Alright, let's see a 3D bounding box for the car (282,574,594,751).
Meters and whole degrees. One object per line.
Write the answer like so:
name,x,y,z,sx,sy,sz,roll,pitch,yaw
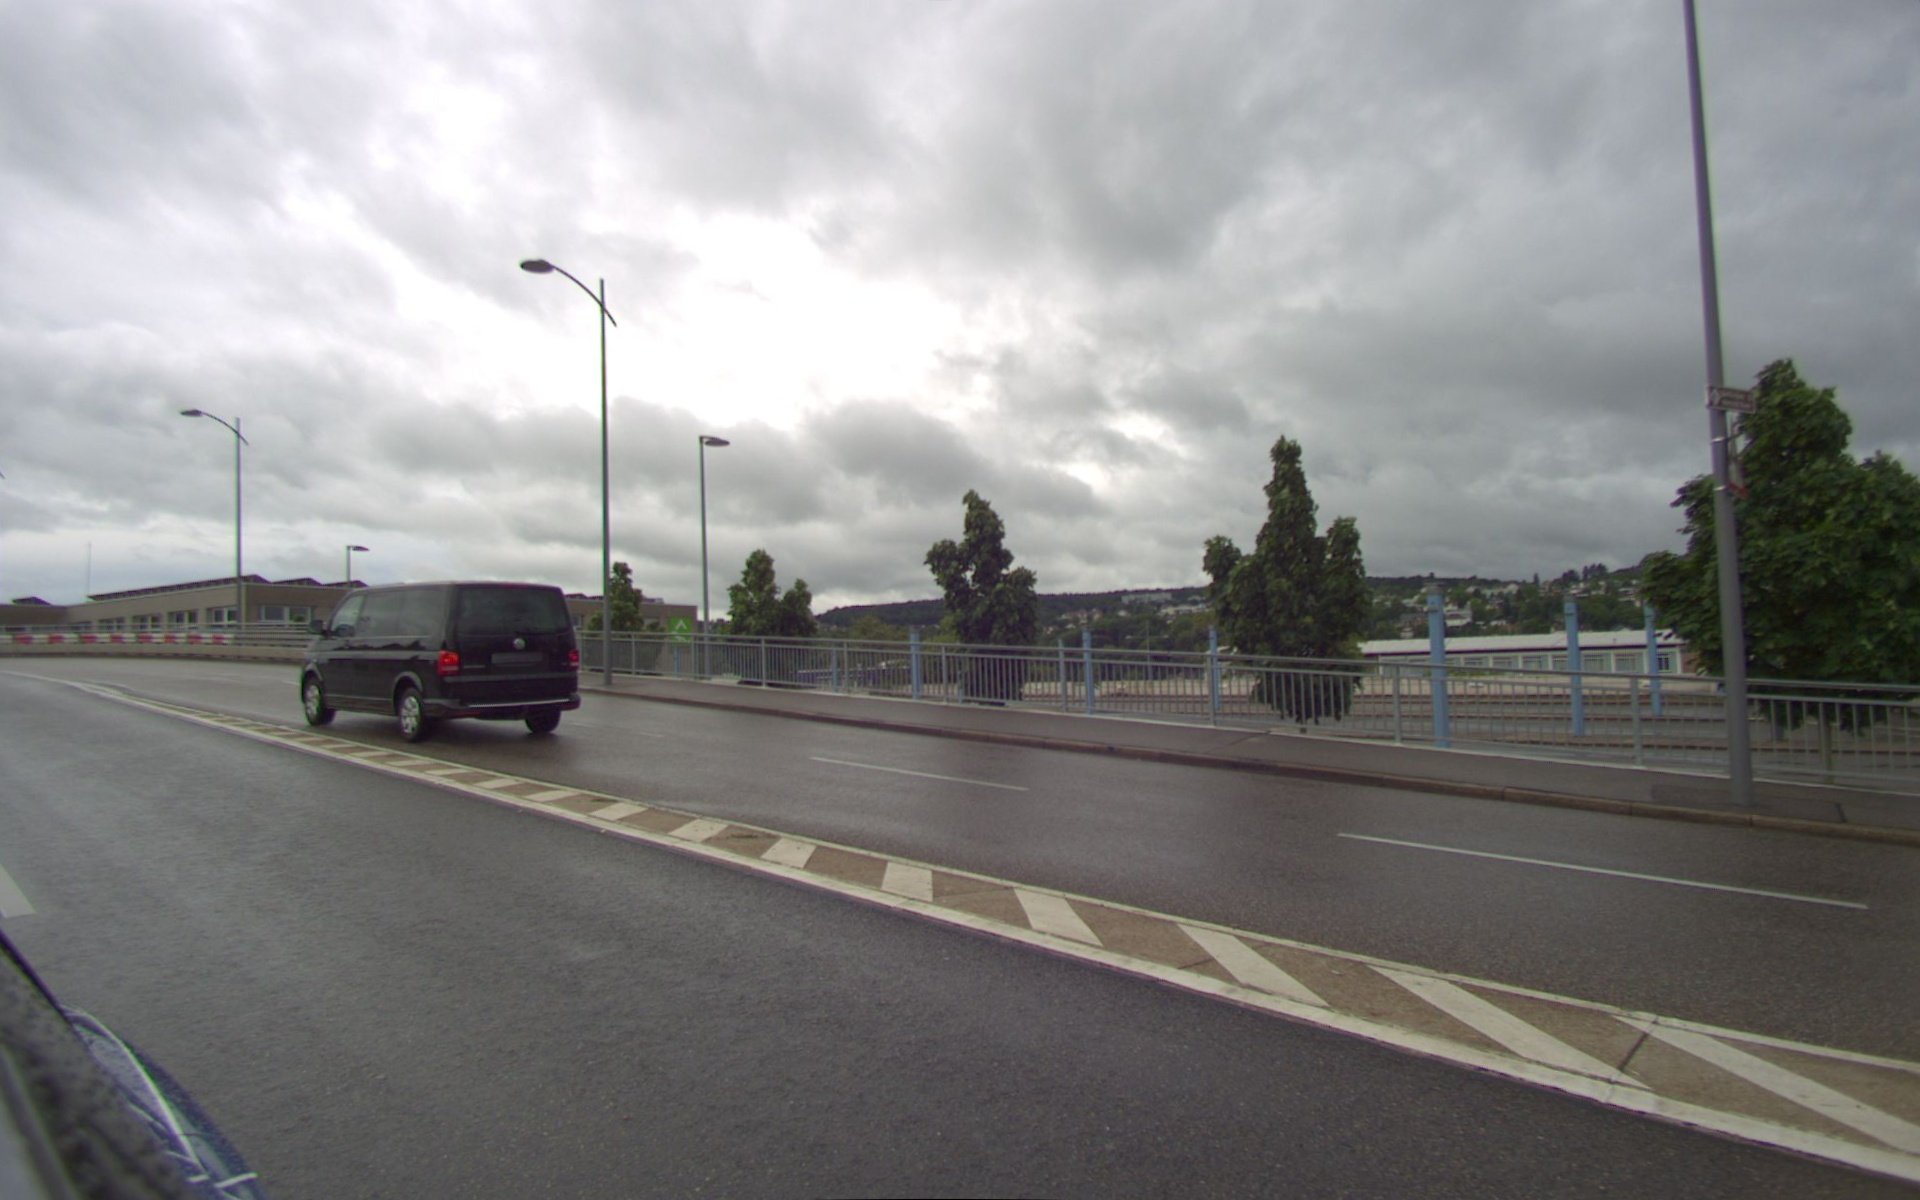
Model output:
car,-7.054,0.745,13.481,4.678,1.983,1.828,0,-2,37
